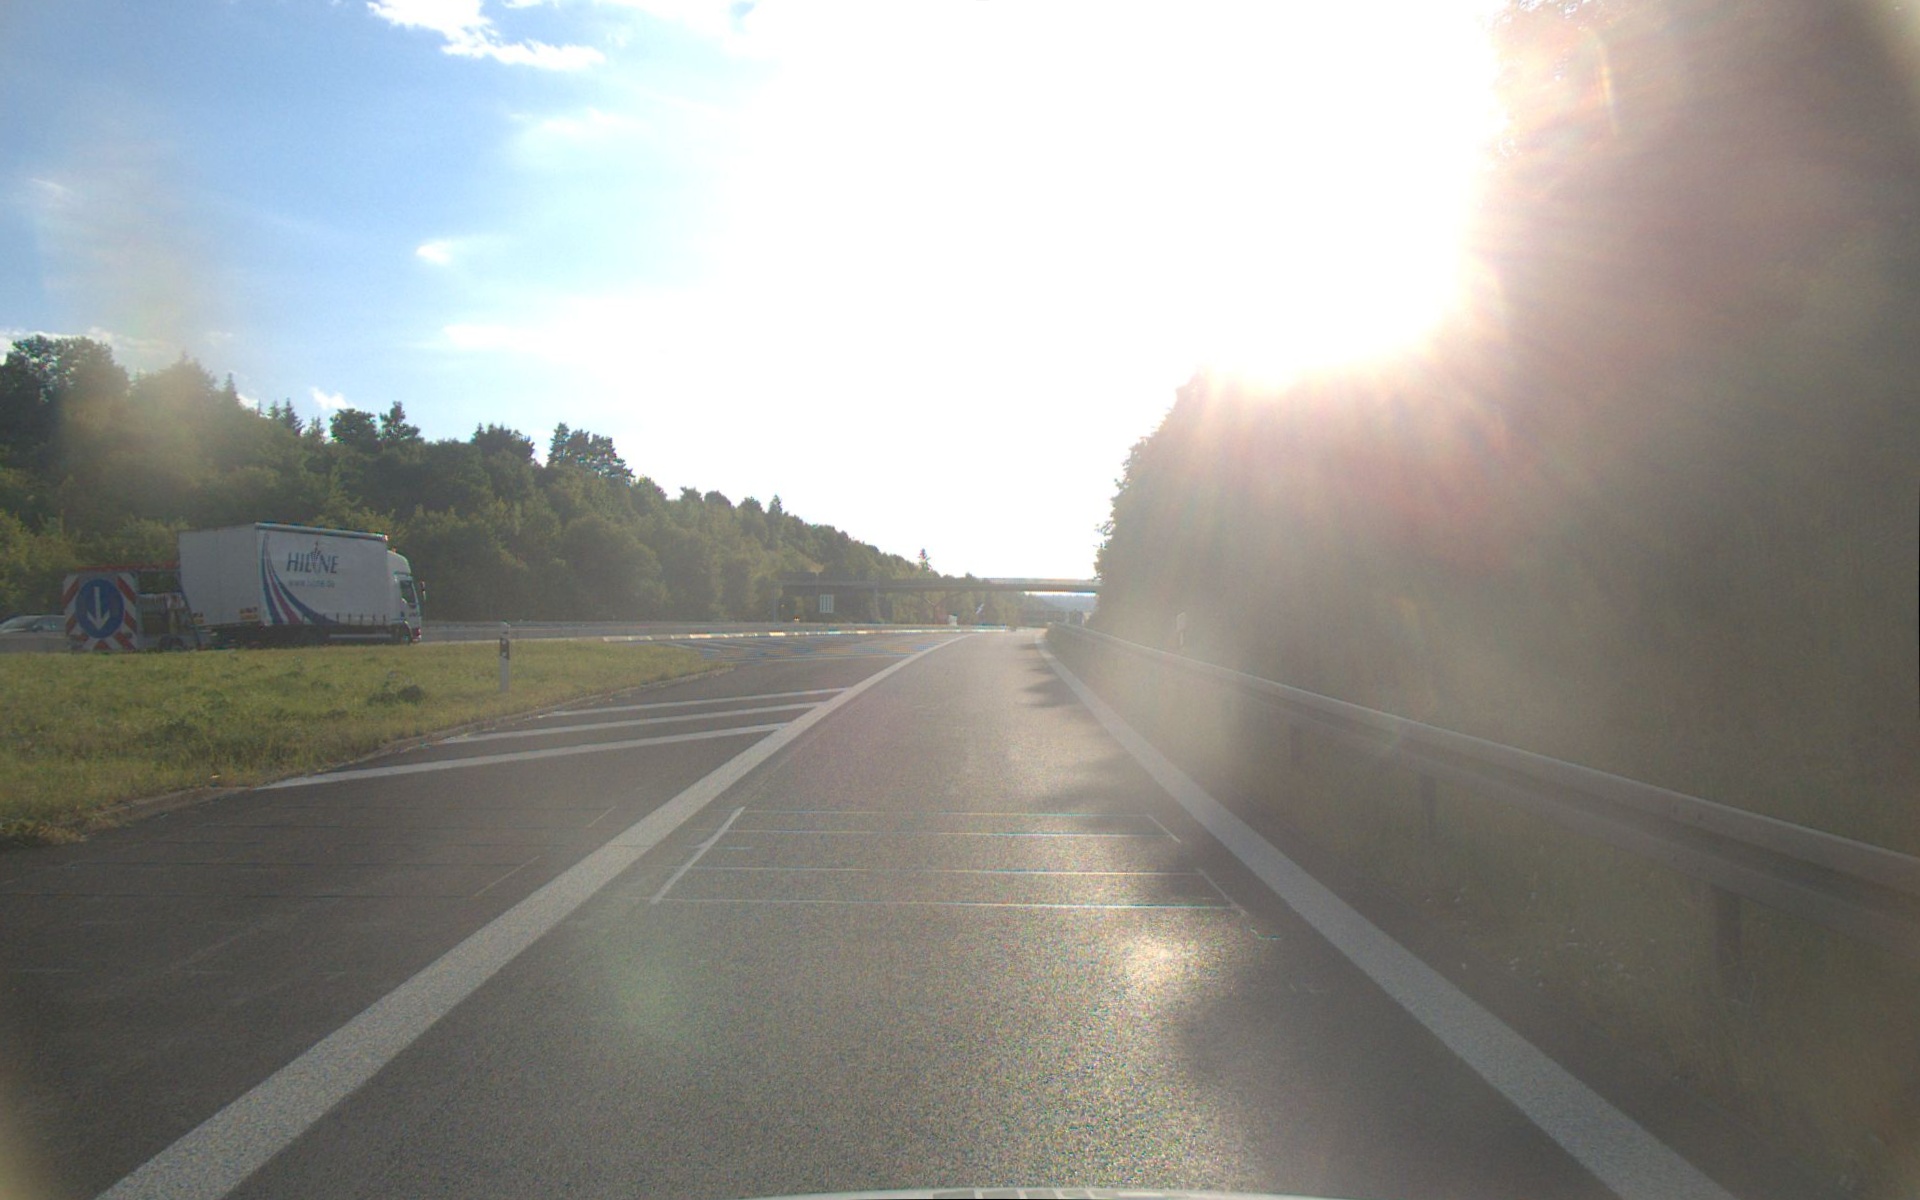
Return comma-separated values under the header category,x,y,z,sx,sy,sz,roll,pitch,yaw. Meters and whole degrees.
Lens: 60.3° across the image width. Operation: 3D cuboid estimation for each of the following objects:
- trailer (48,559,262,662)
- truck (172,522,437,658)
category,x,y,z,sx,sy,sz,roll,pitch,yaw
trailer,-21.632,0.301,44.711,2.858,2.623,4.819,0,-1,12
truck,-20.169,-0.252,51.796,2.858,3.856,9.673,0,0,12
